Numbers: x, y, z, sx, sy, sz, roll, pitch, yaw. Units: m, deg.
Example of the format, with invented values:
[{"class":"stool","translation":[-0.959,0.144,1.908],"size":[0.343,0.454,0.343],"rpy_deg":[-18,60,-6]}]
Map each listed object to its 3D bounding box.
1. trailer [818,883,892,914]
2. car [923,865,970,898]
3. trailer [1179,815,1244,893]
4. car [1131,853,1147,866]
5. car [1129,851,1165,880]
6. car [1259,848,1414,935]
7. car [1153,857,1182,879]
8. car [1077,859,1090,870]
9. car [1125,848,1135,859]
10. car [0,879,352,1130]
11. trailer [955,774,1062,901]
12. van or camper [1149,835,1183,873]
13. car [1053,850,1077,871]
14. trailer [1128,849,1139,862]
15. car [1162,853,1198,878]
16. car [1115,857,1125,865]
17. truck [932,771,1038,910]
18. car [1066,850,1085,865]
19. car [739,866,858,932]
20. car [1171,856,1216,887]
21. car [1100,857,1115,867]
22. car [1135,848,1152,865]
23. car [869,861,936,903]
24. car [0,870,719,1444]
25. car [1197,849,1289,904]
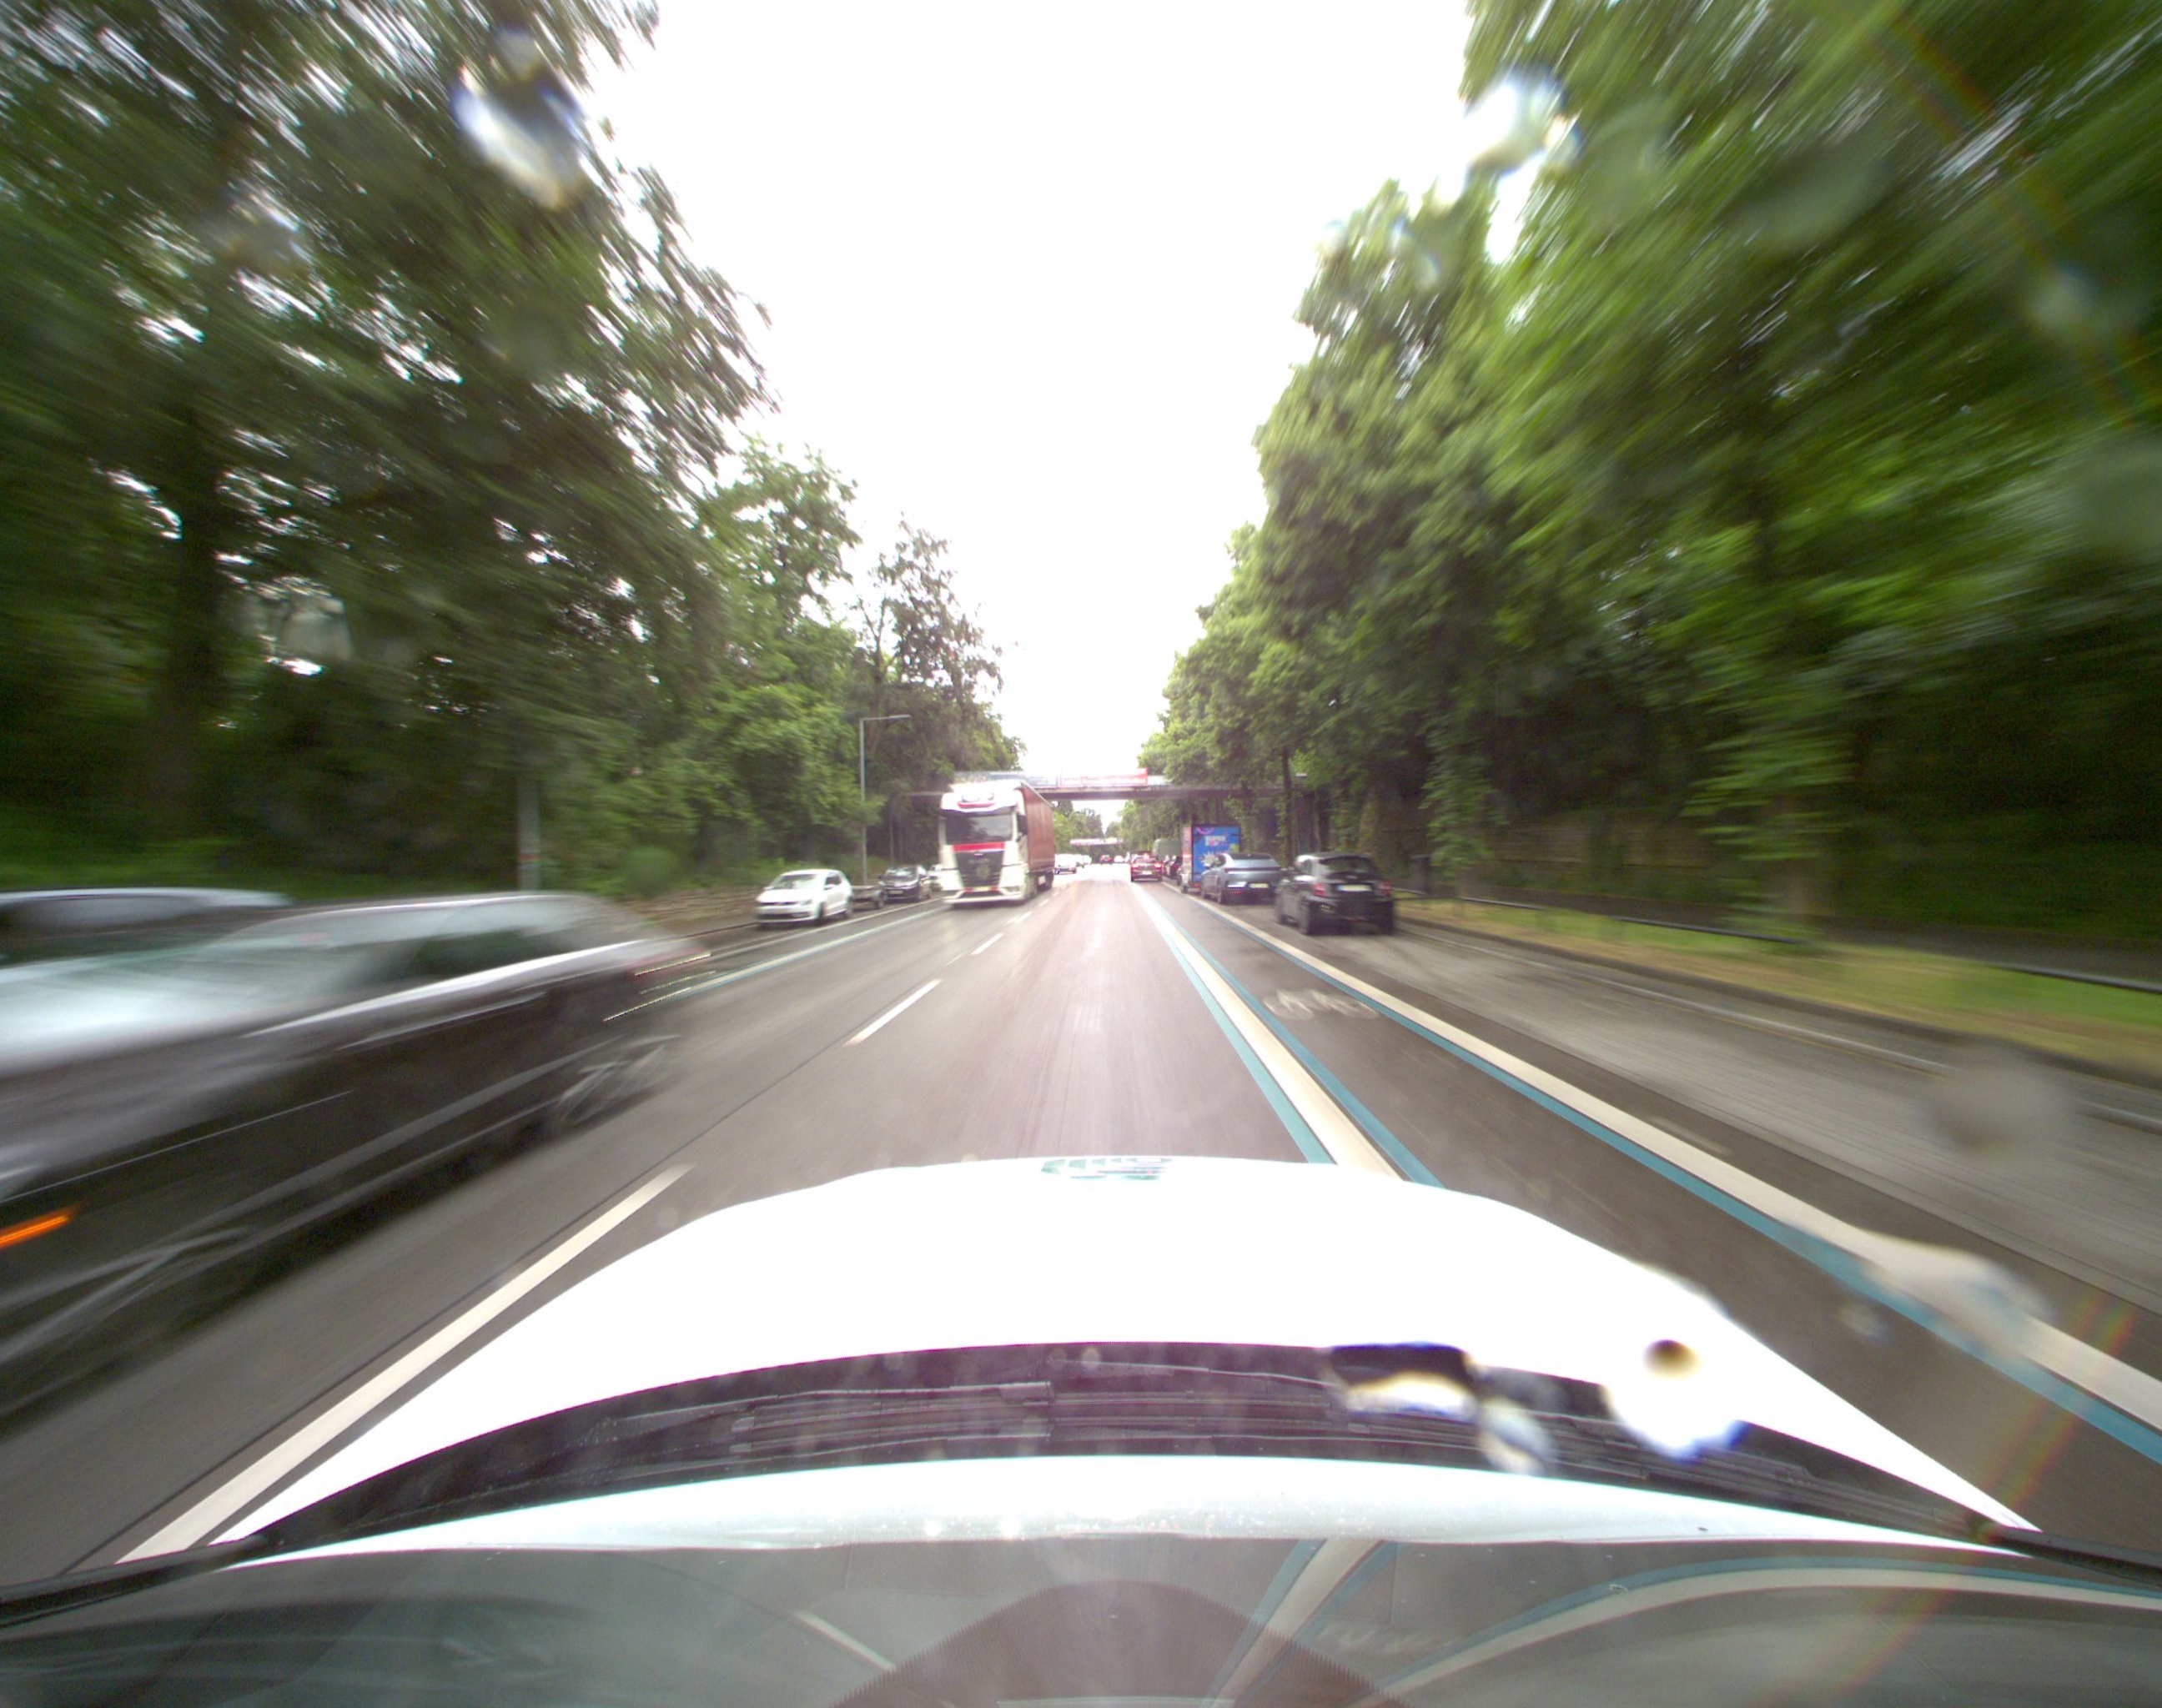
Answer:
[{"class":"trailer","translation":[-7.546,1.467,27.451],"size":[1.537,0.819,3.305],"rpy_deg":[-2,0,0]},{"class":"car","translation":[-7.103,1.423,43.511],"size":[1.682,1.546,4.233],"rpy_deg":[-2,0,1]},{"class":"trailer","translation":[4.972,-0.007,31.489],"size":[1.945,2.758,4.009],"rpy_deg":[-1,0,2]},{"class":"car","translation":[7.544,0.715,106.906],"size":[1.783,1.543,4.889],"rpy_deg":[0,0,0]},{"class":"car","translation":[3.620,0.601,45.417],"size":[1.811,1.508,4.142],"rpy_deg":[-2,0,3]},{"class":"car","translation":[5.033,0.664,16.750],"size":[1.819,1.503,4.572],"rpy_deg":[-2,0,1]},{"class":"car","translation":[5.840,0.908,55.342],"size":[1.679,1.416,4.102],"rpy_deg":[-1,0,2]},{"class":"car","translation":[0.379,1.655,127.246],"size":[1.914,1.560,4.623],"rpy_deg":[-1,0,2]},{"class":"car","translation":[9.707,-0.090,161.866],"size":[1.881,2.127,4.048],"rpy_deg":[-2,0,3]},{"class":"car","translation":[-8.315,1.088,5.680],"size":[2.002,1.605,4.782],"rpy_deg":[-2,0,2]},{"class":"trailer","translation":[-2.691,-0.578,34.953],"size":[2.677,4.258,12.775],"rpy_deg":[-4,0,2]},{"class":"van or camper","translation":[6.456,0.000,62.482],"size":[2.035,2.729,6.902],"rpy_deg":[0,0,1]},{"class":"car","translation":[-1.336,0.548,70.346],"size":[1.827,1.666,4.182],"rpy_deg":[-2,0,1]},{"class":"trailer","translation":[9.338,0.303,145.161],"size":[1.876,2.166,3.810],"rpy_deg":[-2,0,2]},{"class":"car","translation":[6.005,0.658,49.635],"size":[1.680,1.416,4.197],"rpy_deg":[-2,0,0]},{"class":"car","translation":[7.754,1.339,162.437],"size":[1.725,1.583,4.037],"rpy_deg":[-2,0,1]},{"class":"truck","translation":[-3.055,-0.413,27.235],"size":[2.508,4.046,4.918],"rpy_deg":[-4,0,2]},{"class":"car","translation":[-0.624,0.409,98.971],"size":[1.957,1.627,4.325],"rpy_deg":[-2,0,4]},{"class":"car","translation":[-7.573,1.156,22.253],"size":[1.783,1.482,3.982],"rpy_deg":[-2,0,0]},{"class":"car","translation":[5.235,0.803,38.288],"size":[1.579,1.353,3.861],"rpy_deg":[0,0,-1]},{"class":"car","translation":[4.100,1.234,126.341],"size":[2.133,1.492,4.497],"rpy_deg":[-1,0,0]},{"class":"car","translation":[7.824,0.291,101.992],"size":[1.919,2.022,4.666],"rpy_deg":[0,0,2]},{"class":"car","translation":[-7.111,1.082,32.811],"size":[1.826,1.477,4.038],"rpy_deg":[-2,0,-1]},{"class":"car","translation":[-3.842,0.914,3.951],"size":[1.908,1.456,4.622],"rpy_deg":[-4,0,2]},{"class":"car","translation":[4.953,0.622,25.536],"size":[1.894,1.547,4.754],"rpy_deg":[0,0,-1]}]
